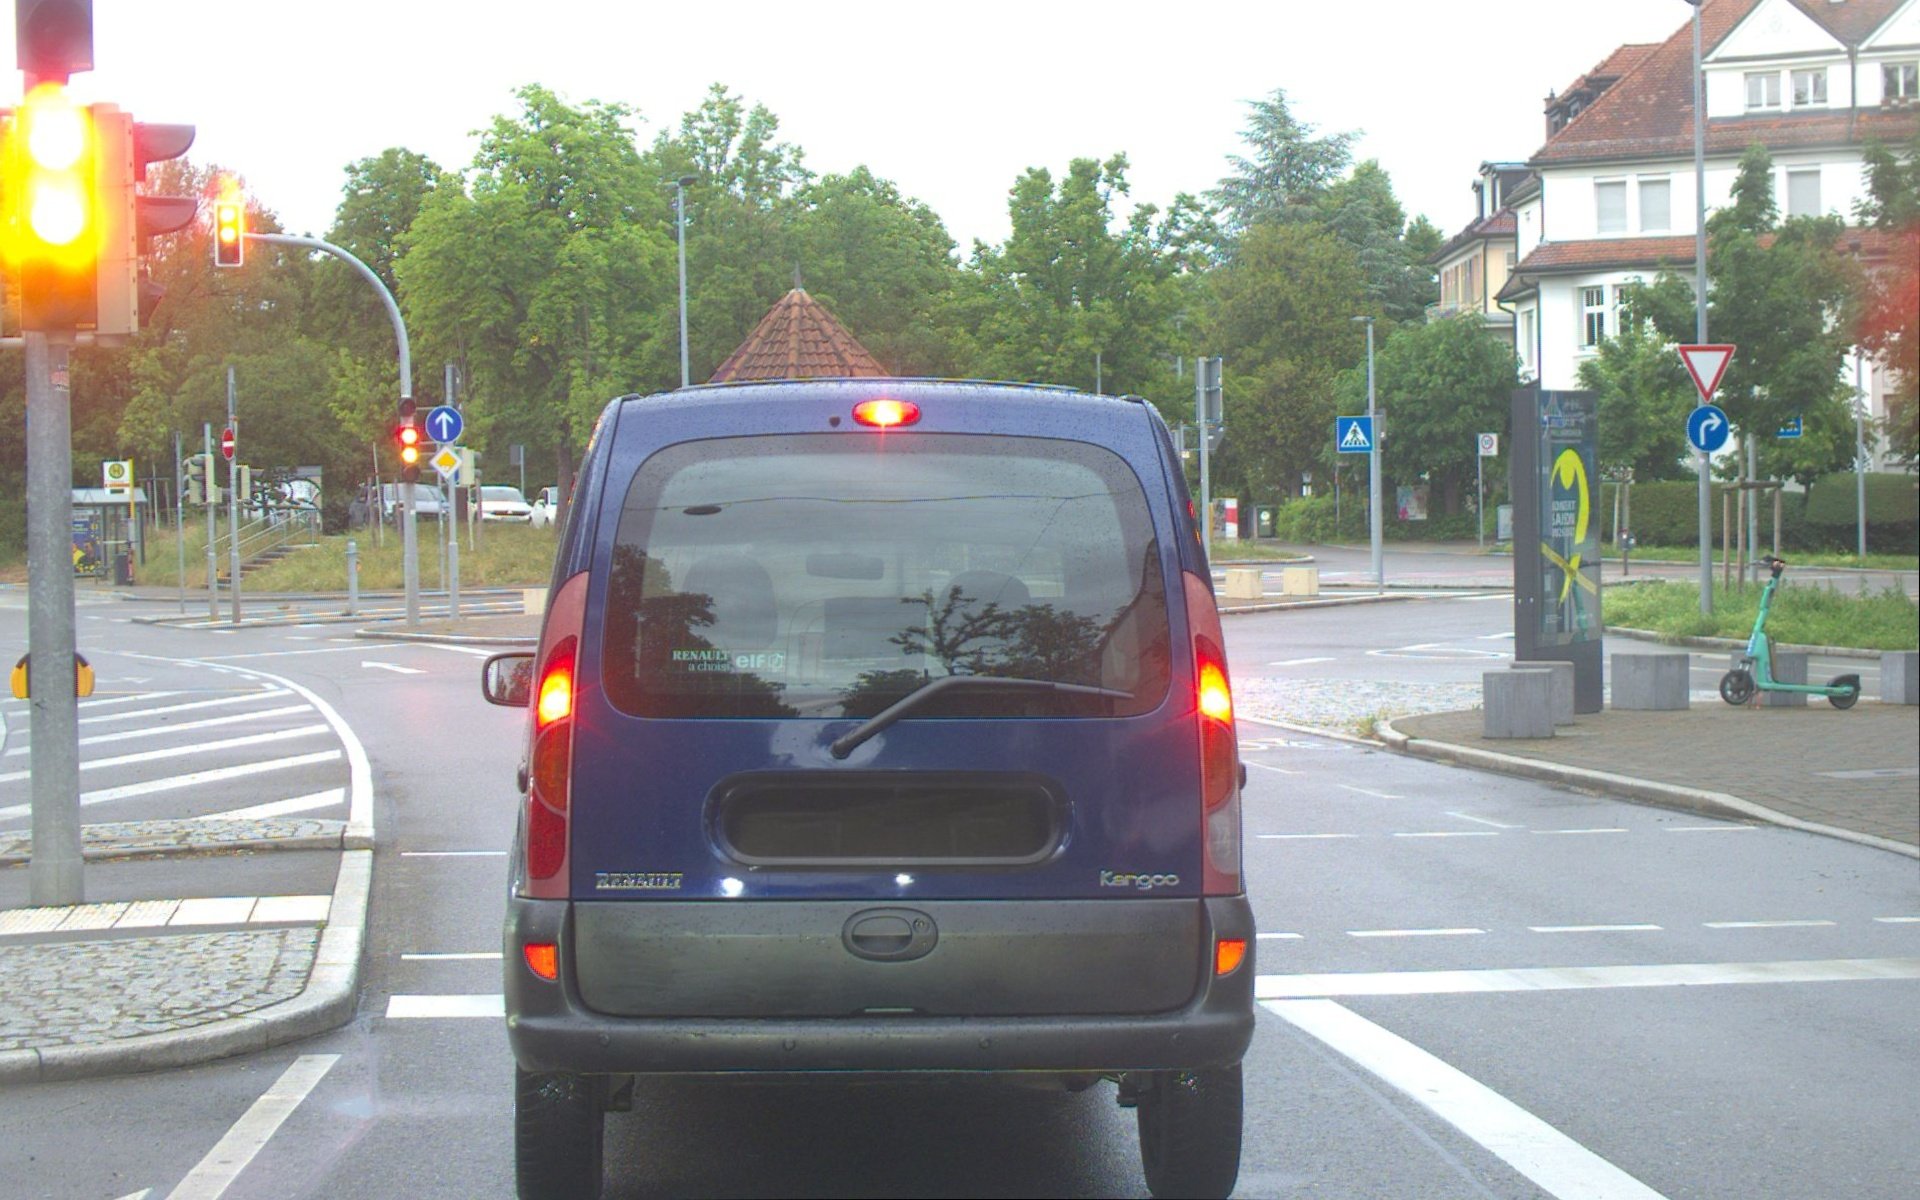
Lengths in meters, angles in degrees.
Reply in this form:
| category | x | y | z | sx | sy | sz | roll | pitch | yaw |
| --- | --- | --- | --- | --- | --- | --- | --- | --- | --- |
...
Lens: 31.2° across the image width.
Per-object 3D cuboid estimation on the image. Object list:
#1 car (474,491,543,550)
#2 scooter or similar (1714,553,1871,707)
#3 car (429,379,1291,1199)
| category | x | y | z | sx | sy | sz | roll | pitch | yaw |
| --- | --- | --- | --- | --- | --- | --- | --- | --- | --- |
| car | -14.392 | -2.534 | 109.837 | 1.993 | 1.806 | 4.001 | 0 | 0 | -5 |
| scooter or similar | 6.720 | 0.240 | 27.774 | 1.149 | 1.215 | 0.406 | -1 | 0 | -1 |
| car | -0.282 | 0.403 | 8.921 | 1.731 | 1.780 | 4.001 | 0 | 1 | -2 |
